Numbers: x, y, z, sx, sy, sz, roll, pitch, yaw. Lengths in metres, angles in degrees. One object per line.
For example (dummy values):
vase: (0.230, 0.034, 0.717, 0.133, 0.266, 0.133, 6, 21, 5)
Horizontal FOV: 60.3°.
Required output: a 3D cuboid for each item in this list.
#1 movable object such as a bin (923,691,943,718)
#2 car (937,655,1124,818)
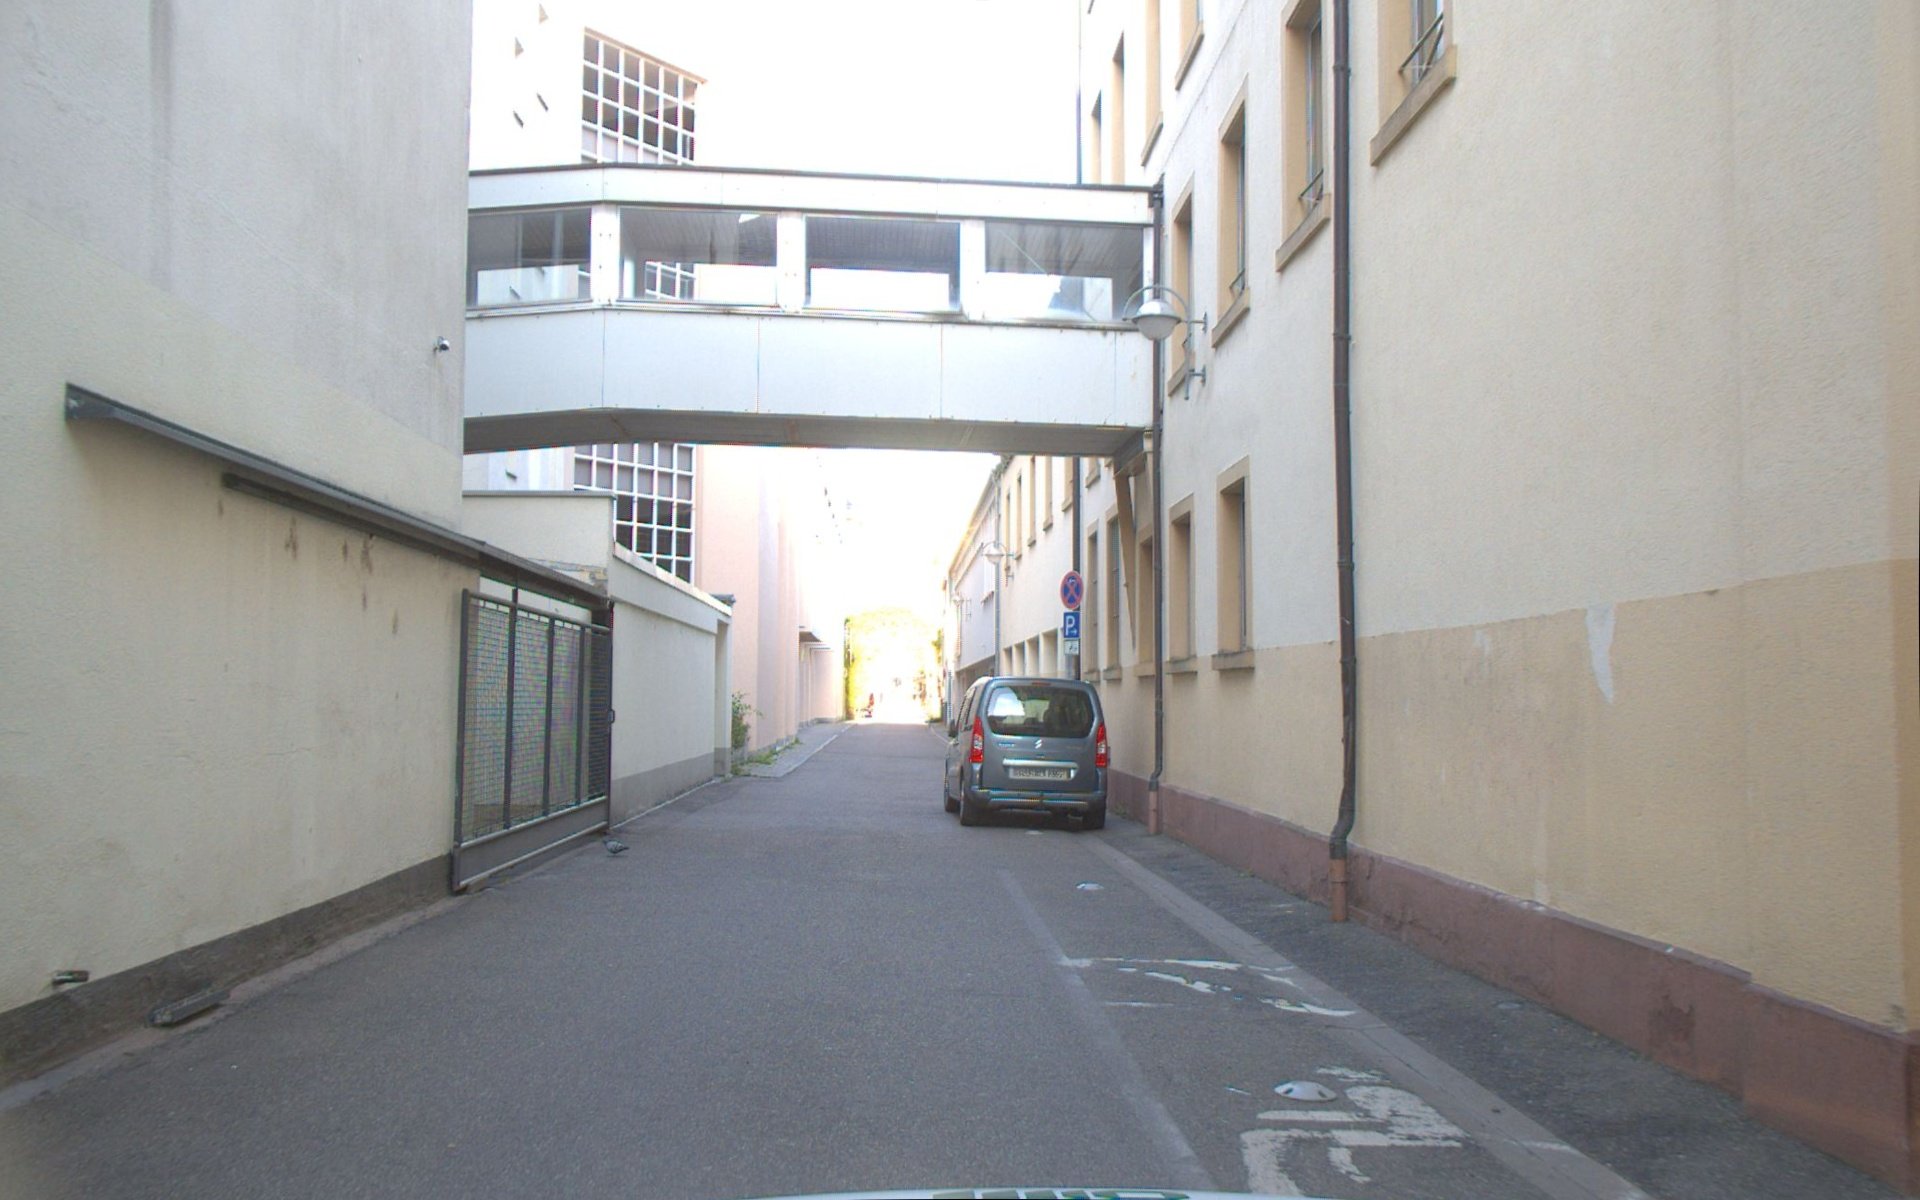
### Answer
movable object such as a bin: (-1.525, 5.903, 93.257, 1.084, 1.461, 1.413, 0, -2, -2)
car: (0.802, 1.777, 21.396, 1.819, 1.787, 4.156, 4, -5, -5)
